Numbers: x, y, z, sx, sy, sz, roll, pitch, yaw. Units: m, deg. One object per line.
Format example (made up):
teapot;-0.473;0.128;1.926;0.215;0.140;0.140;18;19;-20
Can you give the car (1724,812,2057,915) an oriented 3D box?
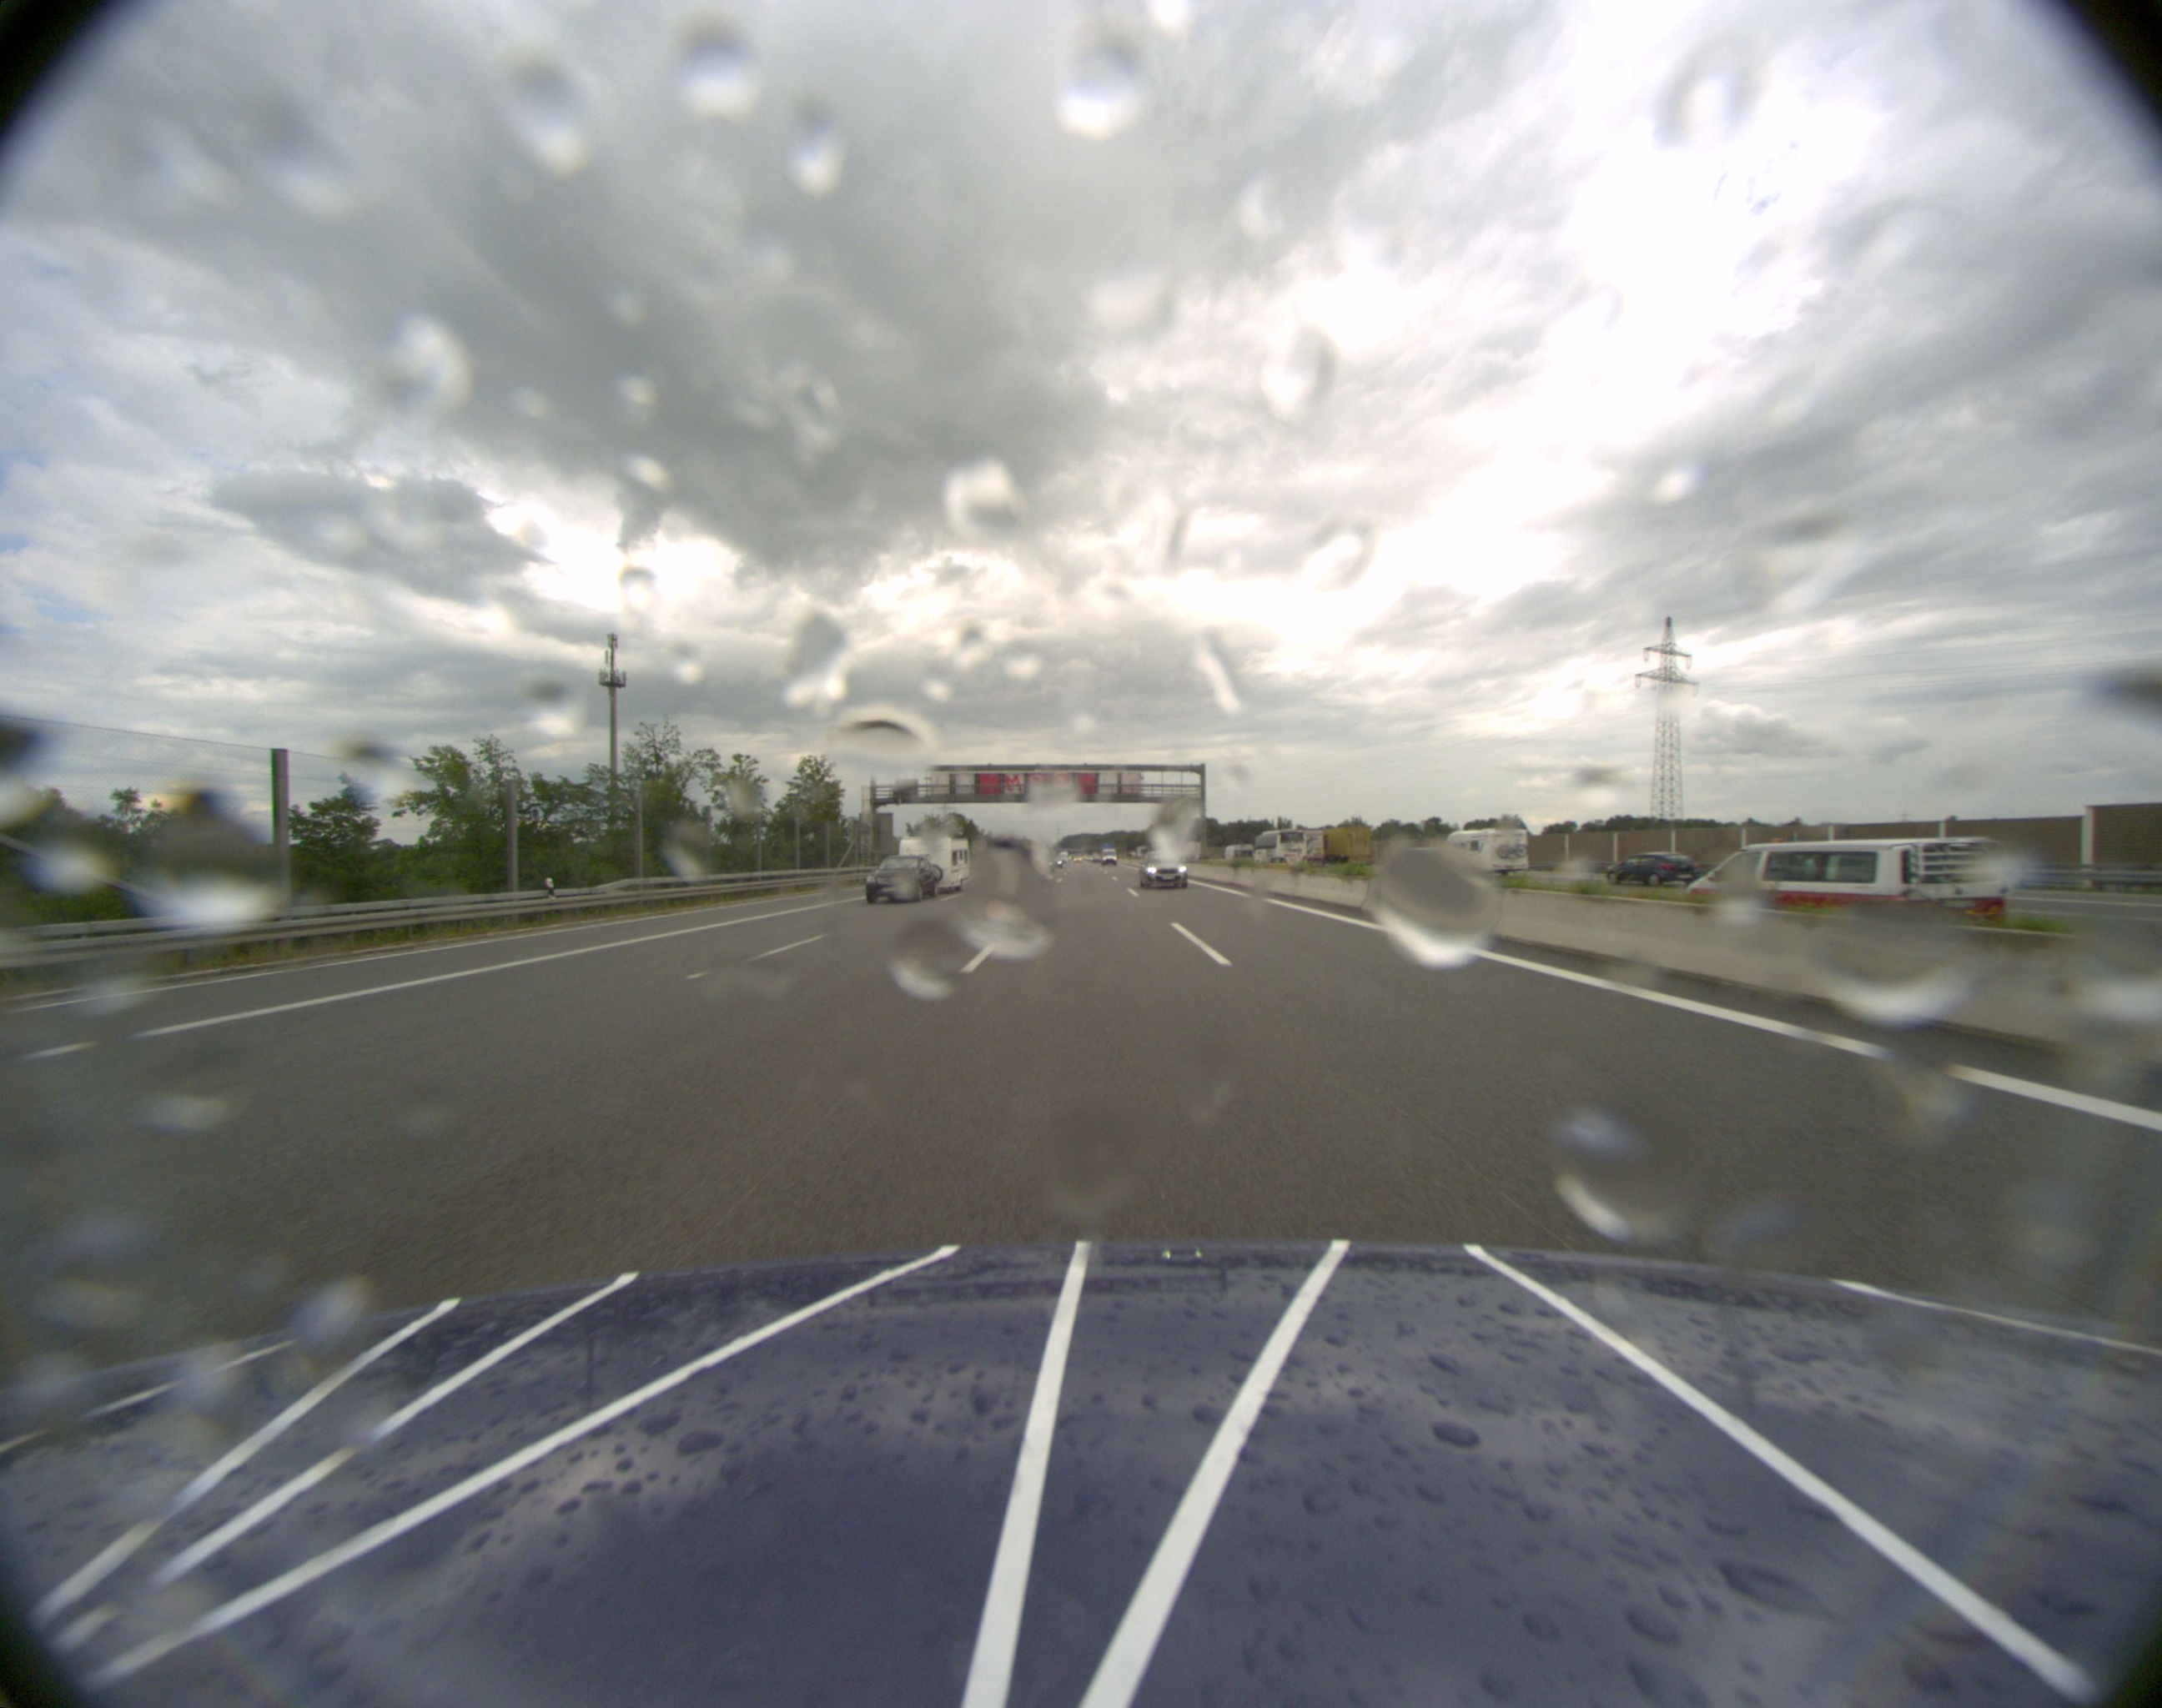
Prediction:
car;19.073;0.171;18.472;2.249;2.102;5.540;-1;1;1

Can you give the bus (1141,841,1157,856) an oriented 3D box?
bus;17.689;-1.458;198.439;2.897;3.590;12.757;-2;0;-1

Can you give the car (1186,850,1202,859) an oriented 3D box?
car;18.971;0.026;127.972;1.792;1.373;4.860;-2;0;-1

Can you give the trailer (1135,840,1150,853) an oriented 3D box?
trailer;20.255;-2.376;249.743;3.669;4.084;13.398;-2;0;0

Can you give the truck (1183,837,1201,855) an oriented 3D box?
truck;26.139;-1.818;179.081;2.908;4.092;6.621;-2;0;-1

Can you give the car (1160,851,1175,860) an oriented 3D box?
car;14.498;0.182;127.105;1.792;1.373;4.860;-2;0;-1

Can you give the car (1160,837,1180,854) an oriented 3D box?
car;22.064;-2.033;188.638;2.990;4.100;14.393;-2;0;-1

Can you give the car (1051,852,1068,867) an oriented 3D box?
car;-2.711;0.662;96.562;1.999;1.701;3.999;-2;0;-2

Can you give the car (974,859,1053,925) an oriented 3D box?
car;-1.633;0.899;19.555;1.683;1.437;3.999;-2;0;-1

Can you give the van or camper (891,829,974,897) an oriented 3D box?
van or camper;-6.652;0.374;35.026;2.390;2.723;7.208;-2;0;-1

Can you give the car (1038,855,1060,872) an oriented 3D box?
car;-2.842;0.815;68.919;1.841;1.437;3.999;-2;0;-1

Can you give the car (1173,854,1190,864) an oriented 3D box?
car;14.658;0.712;111.109;1.792;1.373;4.588;-2;0;-1

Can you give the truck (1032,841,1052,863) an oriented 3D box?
truck;-6.652;-0.385;131.858;2.870;3.633;9.593;-2;0;-1

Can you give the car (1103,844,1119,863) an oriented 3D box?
car;4.209;-0.056;107.459;1.999;2.524;4.807;-2;0;-1

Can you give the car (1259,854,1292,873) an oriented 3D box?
car;14.778;0.684;57.868;1.618;1.380;3.328;-1;0;-1

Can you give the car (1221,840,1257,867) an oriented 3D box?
car;15.006;-0.042;72.439;2.141;2.338;5.710;-2;0;1

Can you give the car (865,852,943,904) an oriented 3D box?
car;-6.686;0.843;29.159;1.925;1.766;4.502;-2;0;-1

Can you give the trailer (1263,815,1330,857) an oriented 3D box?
trailer;22.384;-1.773;80.047;2.893;3.938;14.297;-2;0;0

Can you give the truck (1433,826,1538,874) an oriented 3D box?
truck;25.712;-0.248;48.822;2.698;2.798;7.834;-1;1;1

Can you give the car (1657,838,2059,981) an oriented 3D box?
car;14.347;0.853;14.755;2.235;2.224;5.512;-1;1;1

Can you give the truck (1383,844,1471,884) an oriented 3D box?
truck;18.544;0.470;41.067;2.249;1.988;5.544;-1;1;0

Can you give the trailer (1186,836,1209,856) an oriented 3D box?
trailer;26.198;-1.792;171.760;2.908;4.092;12.697;-2;0;-1

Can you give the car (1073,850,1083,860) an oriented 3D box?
car;-0.677;0.224;168.062;1.999;2.002;3.999;-2;0;-1

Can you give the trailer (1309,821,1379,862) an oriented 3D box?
trailer;27.097;-1.283;79.237;3.036;3.910;12.973;-1;1;1

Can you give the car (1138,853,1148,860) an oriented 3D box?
car;13.531;0.521;165.760;1.721;1.514;4.212;-2;0;-1

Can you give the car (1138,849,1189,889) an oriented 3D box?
car;3.632;0.630;34.370;1.840;1.615;4.915;-2;0;1

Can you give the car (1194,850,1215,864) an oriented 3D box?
car;14.744;0.357;90.699;1.741;1.530;4.376;-2;0;-1

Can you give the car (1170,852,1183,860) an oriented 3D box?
car;18.997;0.343;151.438;1.721;1.418;4.860;-2;0;-1

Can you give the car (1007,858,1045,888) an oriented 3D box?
car;-2.843;0.967;40.056;1.717;1.437;3.999;-2;0;-1

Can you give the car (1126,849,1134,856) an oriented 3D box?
car;13.777;-0.429;213.066;1.792;1.656;4.295;-2;0;-1

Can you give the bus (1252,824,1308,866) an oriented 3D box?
bus;18.601;-0.818;71.635;2.660;3.658;10.633;-1;1;1

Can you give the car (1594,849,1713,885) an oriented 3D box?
car;25.448;0.522;34.028;1.812;1.479;4.773;-1;1;1

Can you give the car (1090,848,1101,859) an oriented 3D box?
car;2.926;-0.128;150.627;1.999;2.002;3.999;-2;0;-1

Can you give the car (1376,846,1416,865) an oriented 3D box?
car;26.323;0.109;63.632;1.791;1.533;3.888;-1;1;1
